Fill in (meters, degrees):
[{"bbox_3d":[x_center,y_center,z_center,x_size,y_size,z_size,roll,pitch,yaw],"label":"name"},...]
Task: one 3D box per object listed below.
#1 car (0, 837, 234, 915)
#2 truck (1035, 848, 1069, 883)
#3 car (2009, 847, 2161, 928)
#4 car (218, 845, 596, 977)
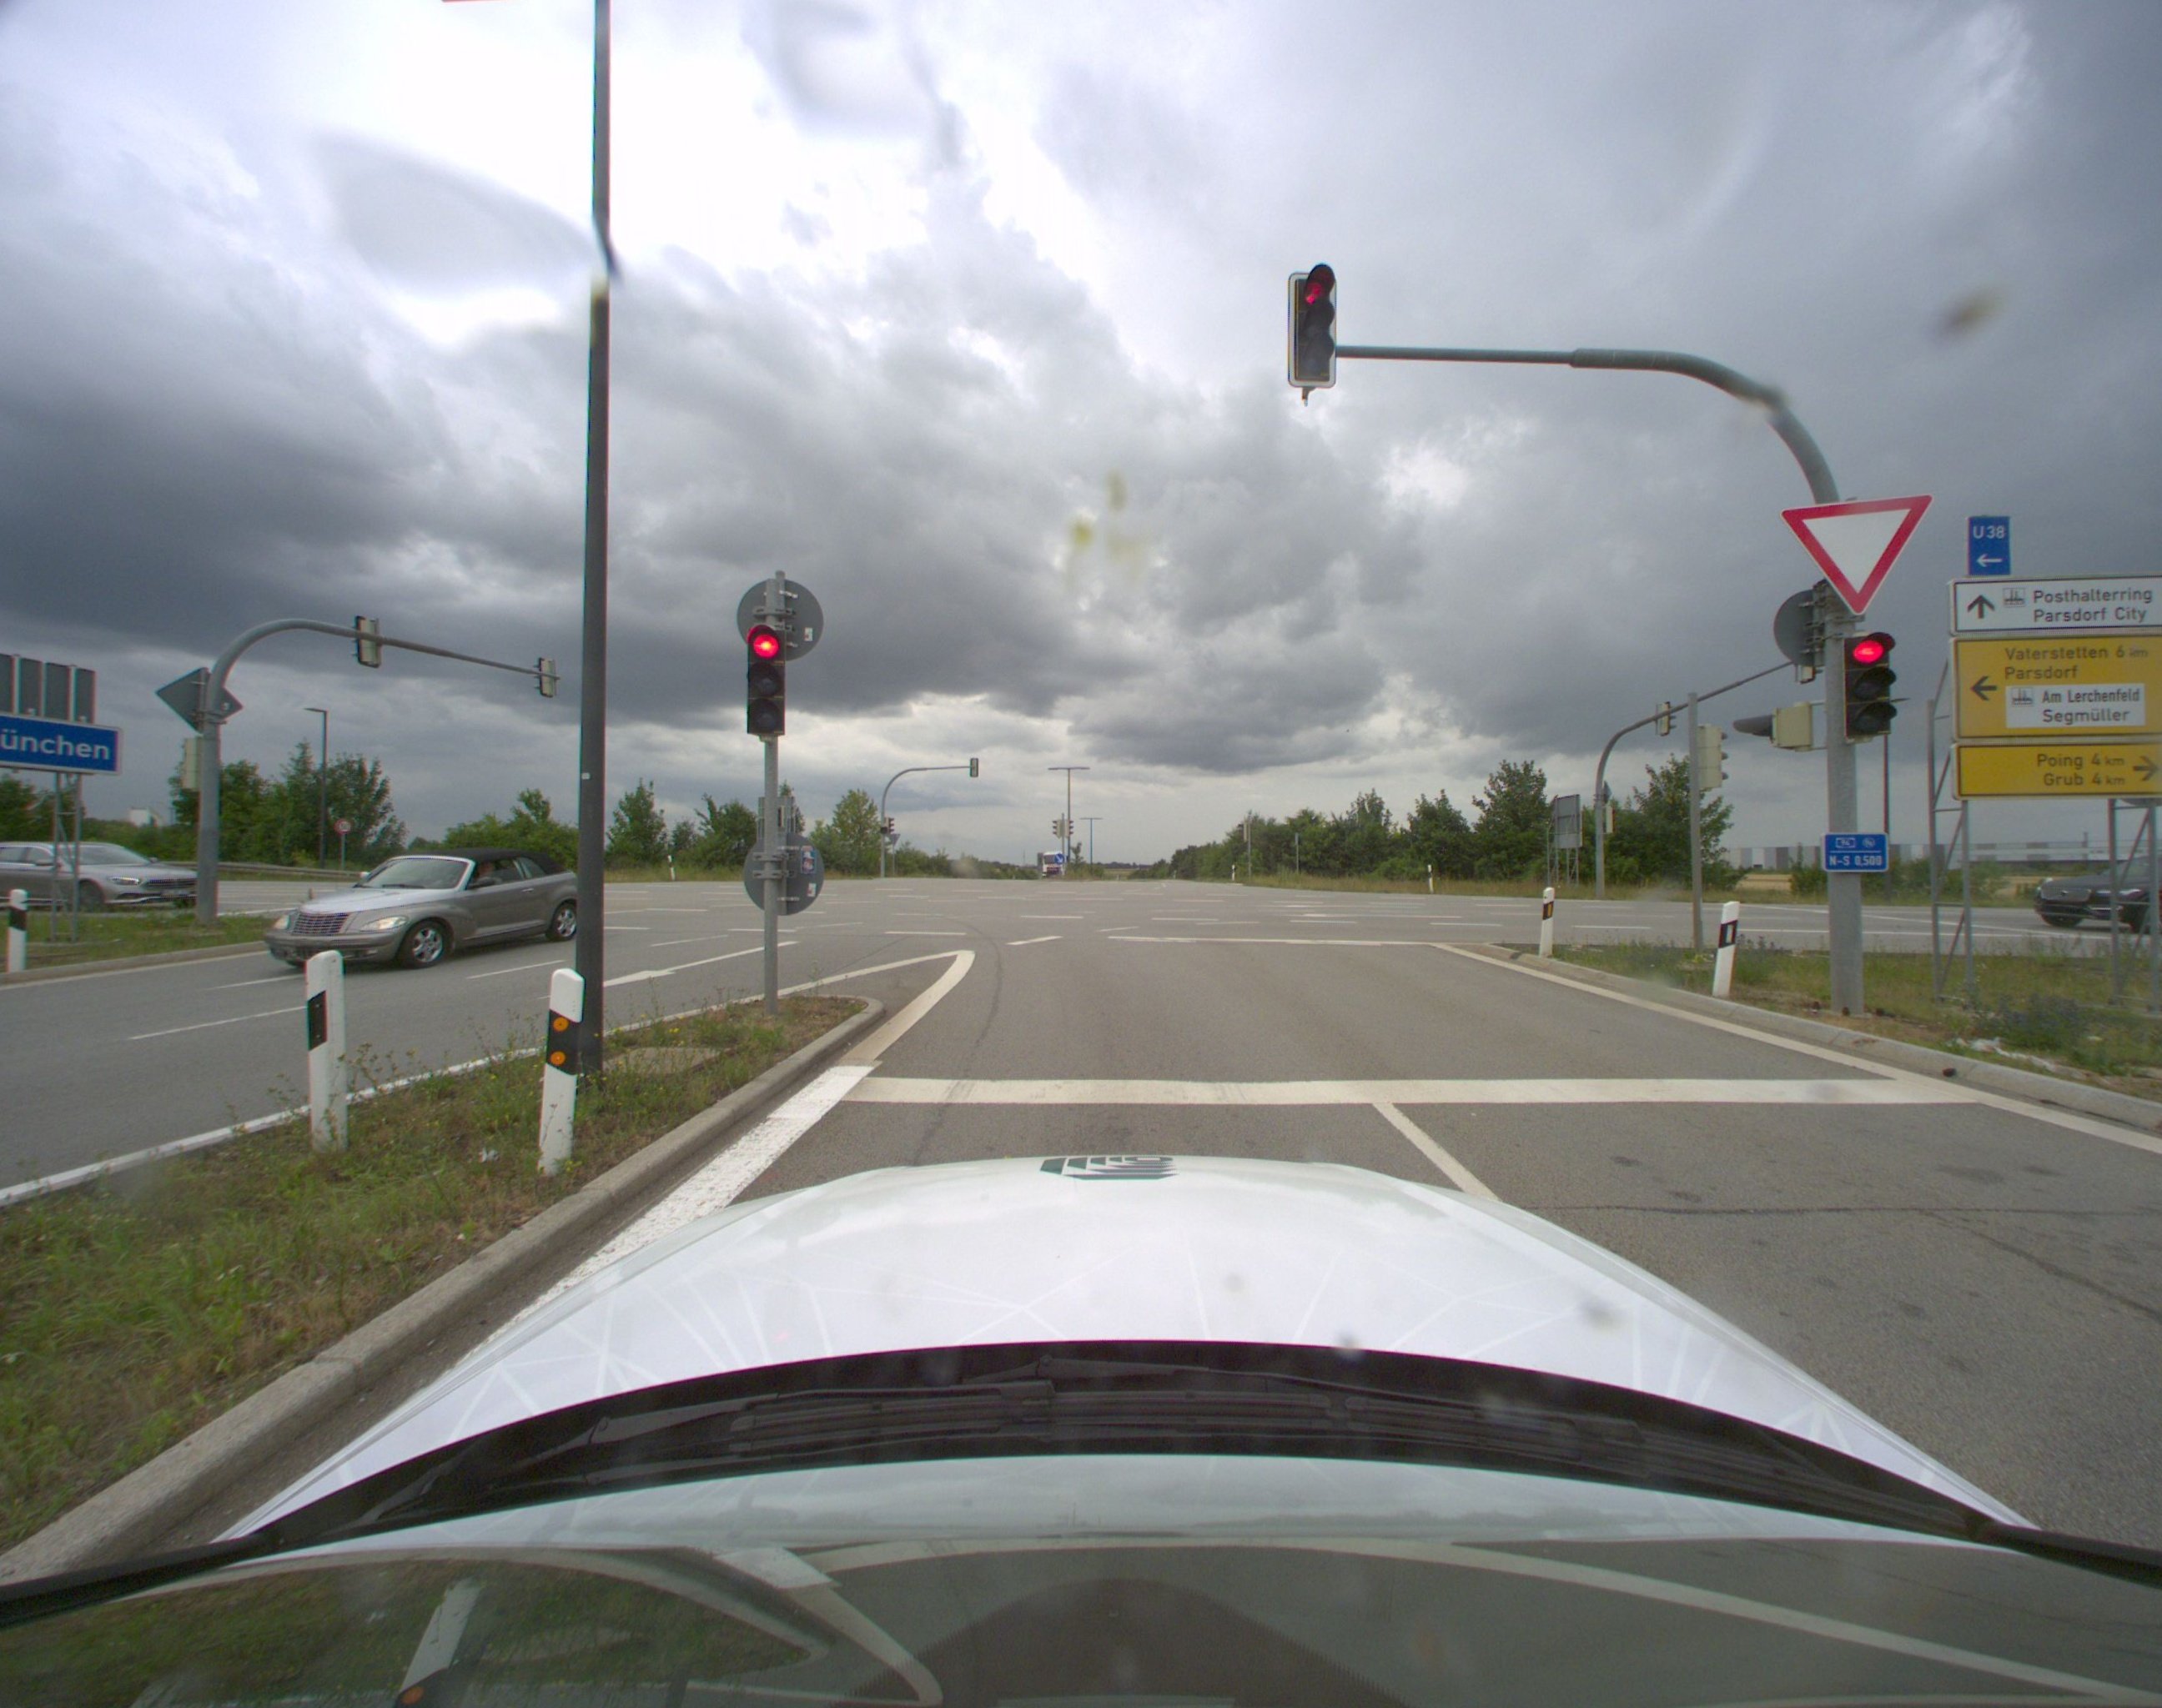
[{"bbox_3d":[-22.380,0.447,18.300,4.909,1.610,1.924,0,1,5],"label":"car"},{"bbox_3d":[-2.979,1.274,85.829,2.858,3.408,8.653,0,-2,2],"label":"truck"},{"bbox_3d":[24.068,0.724,17.730,4.951,1.684,2.006,0,0,10],"label":"car"},{"bbox_3d":[-9.211,0.646,11.724,1.803,1.520,4.244,0,1,2],"label":"car"}]
